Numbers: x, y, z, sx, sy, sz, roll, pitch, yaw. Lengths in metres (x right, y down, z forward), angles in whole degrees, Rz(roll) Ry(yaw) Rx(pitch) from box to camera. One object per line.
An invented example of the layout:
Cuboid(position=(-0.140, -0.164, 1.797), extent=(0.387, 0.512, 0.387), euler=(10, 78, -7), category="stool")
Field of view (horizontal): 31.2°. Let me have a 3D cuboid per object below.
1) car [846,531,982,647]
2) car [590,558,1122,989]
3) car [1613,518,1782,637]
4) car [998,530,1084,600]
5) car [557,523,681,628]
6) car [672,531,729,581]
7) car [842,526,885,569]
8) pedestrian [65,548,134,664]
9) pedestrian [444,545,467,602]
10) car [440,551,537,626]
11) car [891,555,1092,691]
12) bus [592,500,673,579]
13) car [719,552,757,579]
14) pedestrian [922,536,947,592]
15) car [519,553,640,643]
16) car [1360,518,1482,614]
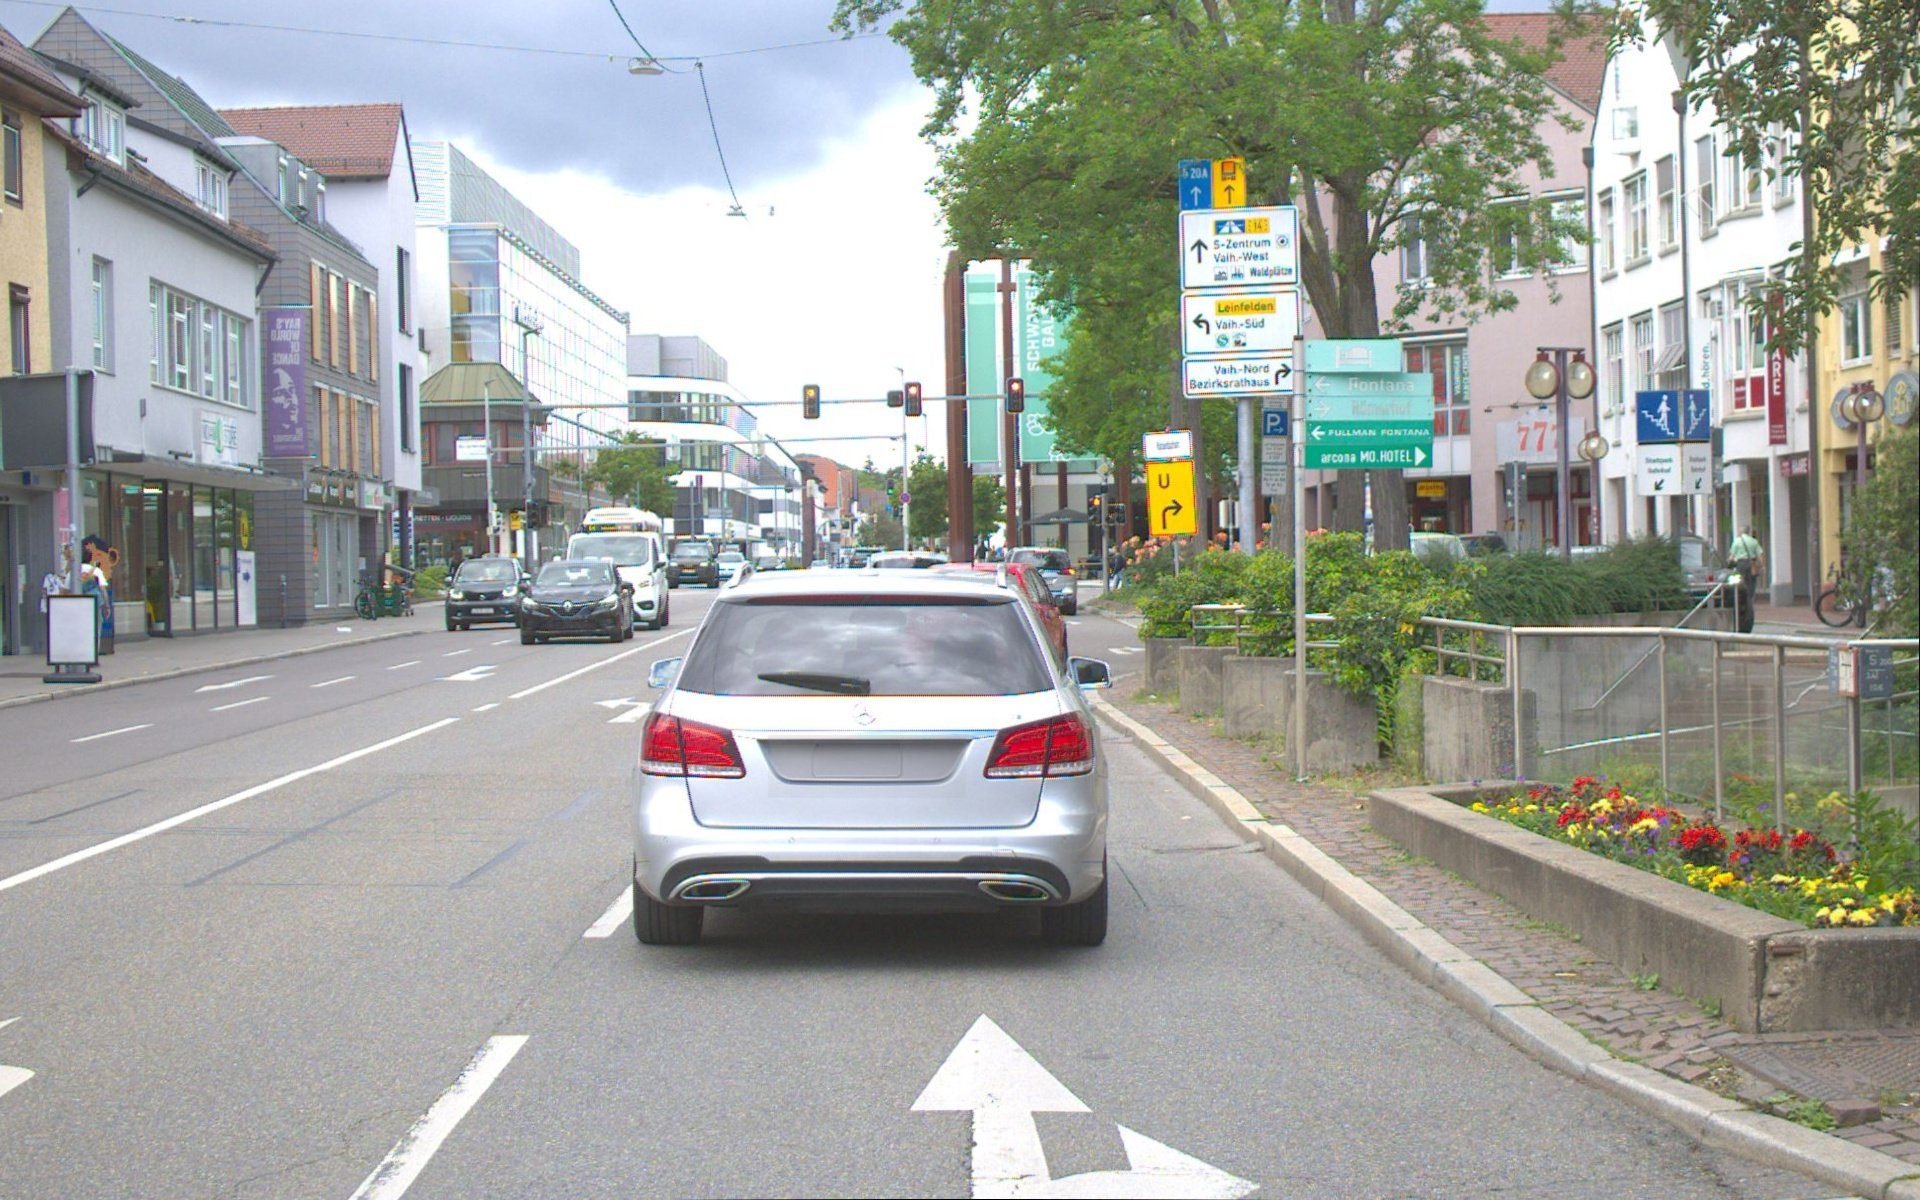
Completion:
Cuboid(position=(-0.704, -0.199, 53.202), extent=(1.993, 1.678, 4.000), euler=(-1, 1, 0), category="car")
Cuboid(position=(-0.460, 0.593, 14.247), extent=(1.874, 1.501, 4.001), euler=(-1, 1, -3), category="car")
Cuboid(position=(12.174, -0.396, 56.990), extent=(1.866, 1.858, 4.000), euler=(-1, 1, 0), category="car")
Cuboid(position=(2.007, -0.896, 86.012), extent=(1.993, 1.678, 4.000), euler=(-1, 1, 0), category="car")
Cuboid(position=(-6.815, -0.513, 69.197), extent=(1.961, 1.954, 5.140), euler=(-3, 1, -1), category="car")
Cuboid(position=(-10.615, -1.816, 140.811), extent=(1.993, 2.007, 4.000), euler=(-1, 1, 0), category="car")
Cuboid(position=(-4.716, -2.580, 168.595), extent=(1.993, 2.007, 4.000), euler=(-1, 1, -1), category="car")
Cuboid(position=(-12.308, 0.080, 49.166), extent=(0.816, 1.629, 0.980), euler=(1, 1, -6), category="pedestrian")
Cuboid(position=(-14.794, -0.784, 100.821), extent=(0.586, 1.629, 0.615), euler=(1, 1, -3), category="pedestrian")
Cuboid(position=(-10.242, -0.273, 74.795), extent=(1.617, 1.518, 3.508), euler=(-3, 1, -1), category="car")
Cuboid(position=(0.438, 0.242, 41.922), extent=(1.755, 1.515, 3.998), euler=(-1, 1, 10), category="car")
Cuboid(position=(-13.509, -2.494, 142.203), extent=(2.775, 3.154, 5.933), euler=(-1, 1, 0), category="bus")
Cuboid(position=(-10.588, -1.664, 164.427), extent=(1.575, 1.240, 3.607), euler=(-1, 1, 0), category="car")
Cuboid(position=(-0.747, -1.057, 101.643), extent=(0.613, 1.629, 0.588), euler=(1, 1, -9), category="pedestrian")
Cuboid(position=(-6.529, -0.061, 59.331), extent=(1.617, 1.423, 3.923), euler=(-2, 1, 0), category="car")
Cuboid(position=(9.347, -0.707, 70.003), extent=(1.866, 1.858, 4.000), euler=(-1, 1, 0), category="car")
